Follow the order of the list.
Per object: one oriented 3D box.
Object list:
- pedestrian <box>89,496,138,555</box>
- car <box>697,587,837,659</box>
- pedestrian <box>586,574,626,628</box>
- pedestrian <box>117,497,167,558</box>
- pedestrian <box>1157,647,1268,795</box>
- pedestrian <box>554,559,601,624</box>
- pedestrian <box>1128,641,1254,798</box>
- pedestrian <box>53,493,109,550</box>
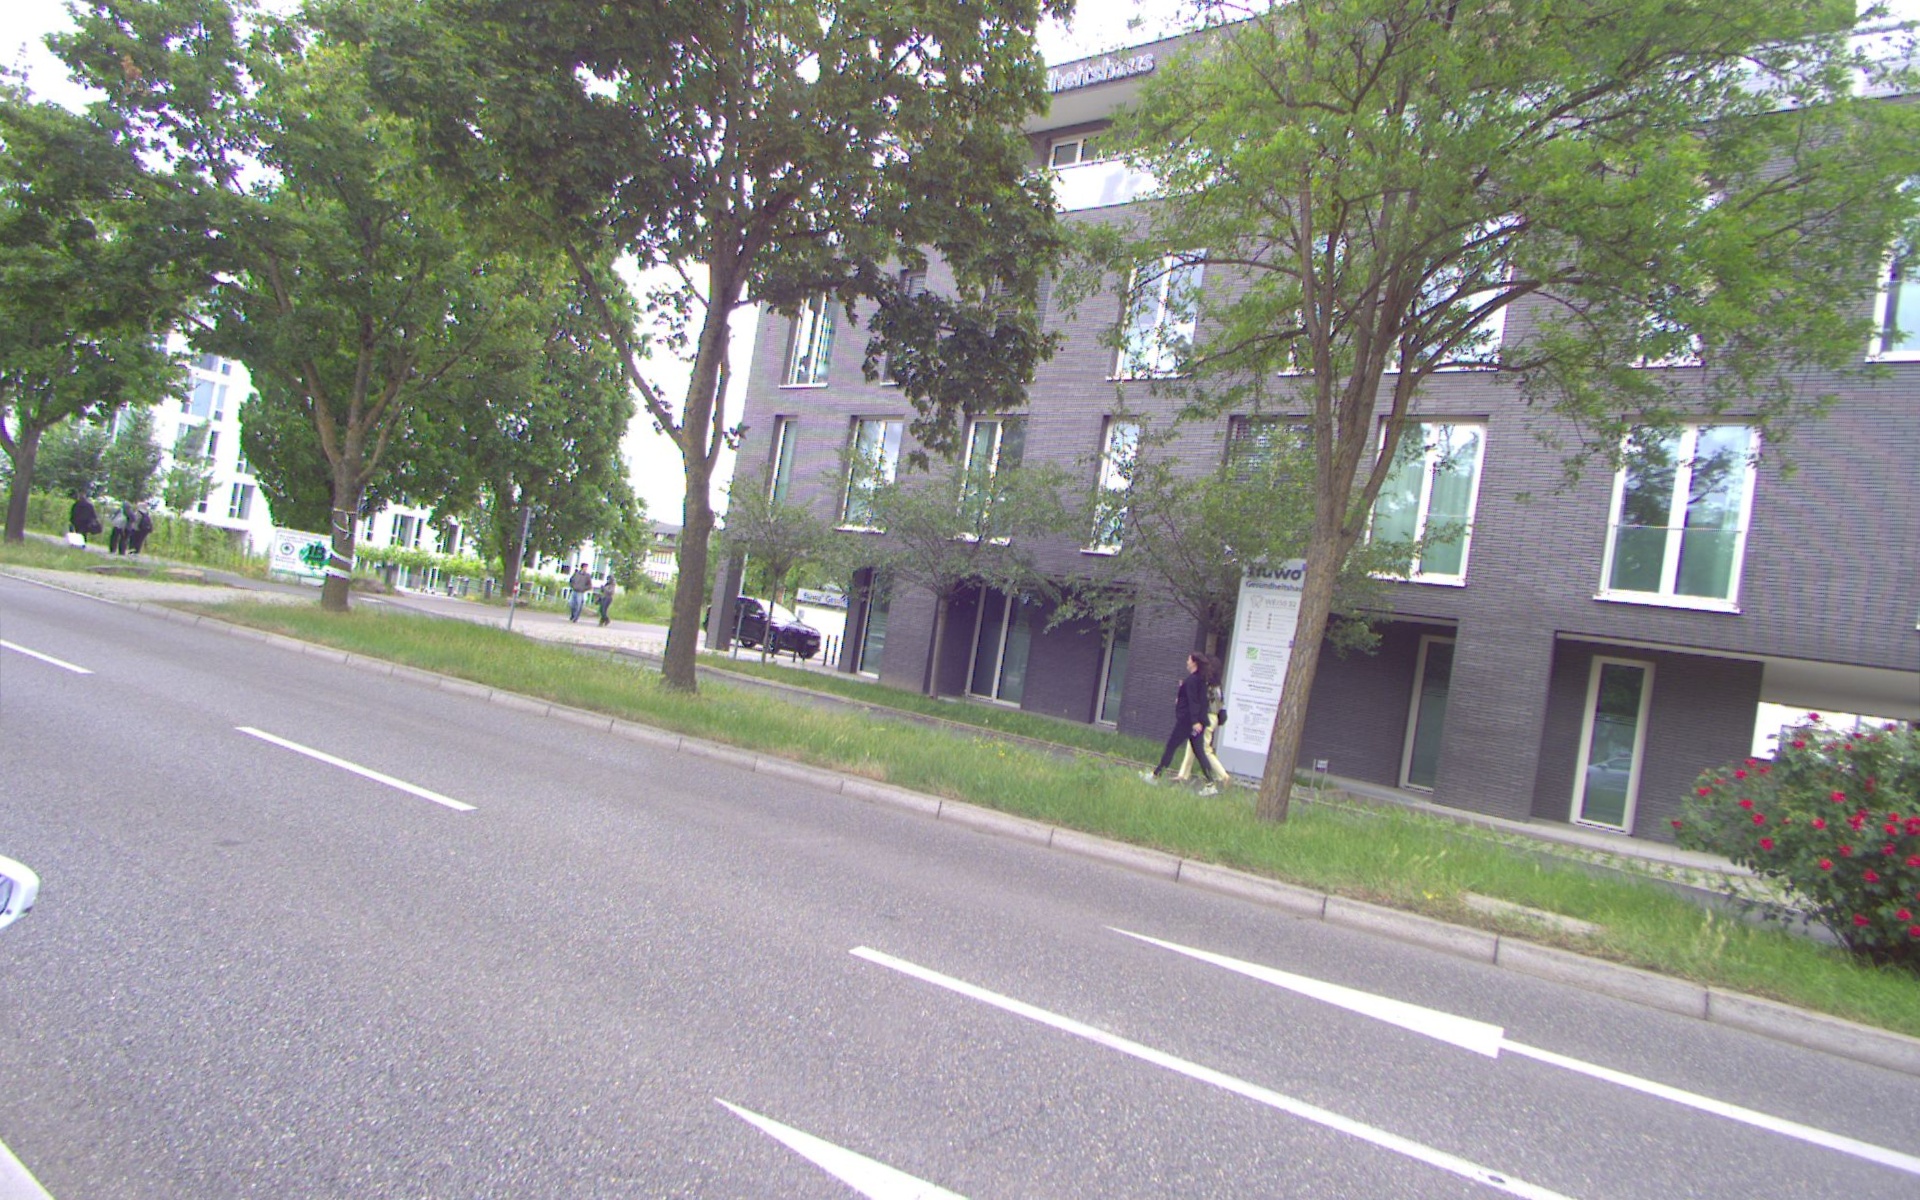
[{"bbox_3d":[-25.043,-2.202,29.764,0.869,1.614,0.701,6,-1,31],"label":"pedestrian"},{"bbox_3d":[-6.103,0.723,31.693,4.080,1.665,1.759,7,-2,32],"label":"car"},{"bbox_3d":[-11.158,0.051,31.734,0.821,1.575,0.875,8,-1,-8],"label":"pedestrian"},{"bbox_3d":[-24.823,-2.198,30.545,0.869,1.705,0.768,6,-1,31],"label":"pedestrian"},{"bbox_3d":[3.177,1.508,12.656,0.937,1.679,0.779,7,-1,38],"label":"pedestrian"},{"bbox_3d":[-12.017,-0.255,31.648,0.946,1.889,0.978,8,-1,-8],"label":"pedestrian"},{"bbox_3d":[2.773,1.418,12.062,1.043,1.679,0.796,7,-1,38],"label":"pedestrian"},{"bbox_3d":[-25.386,-2.276,29.042,1.093,1.465,0.791,6,-1,31],"label":"pedestrian"}]
